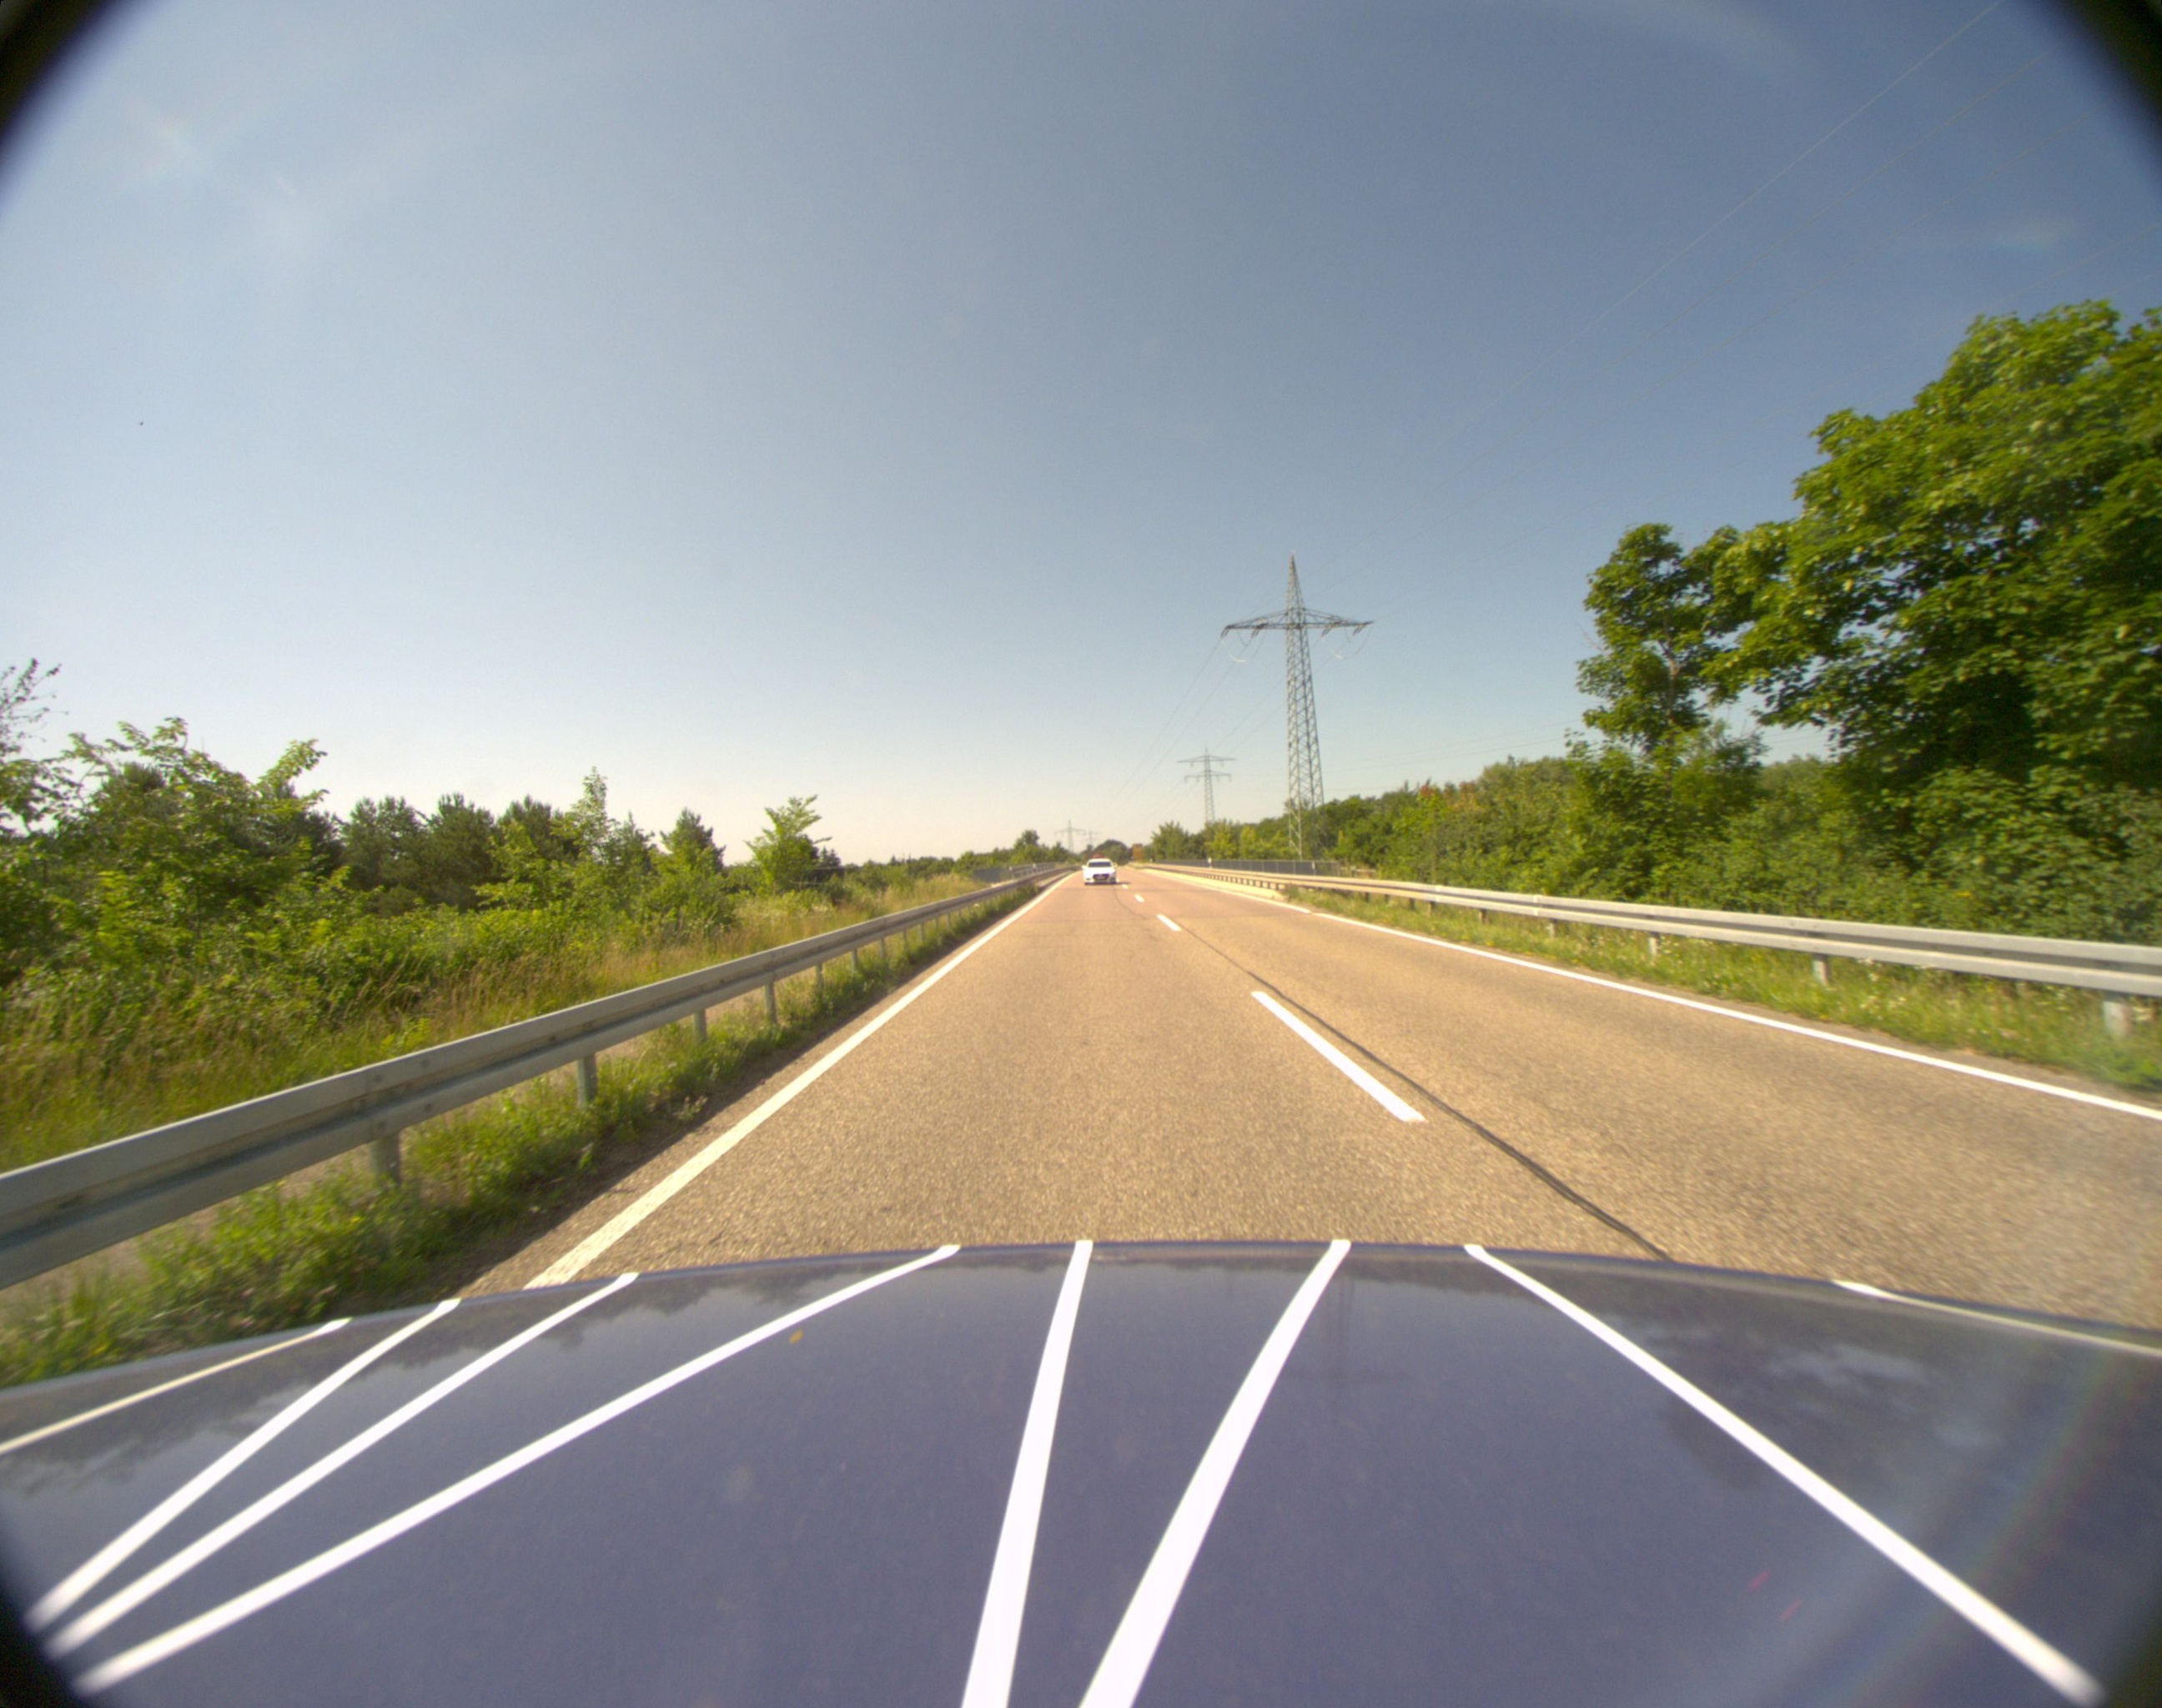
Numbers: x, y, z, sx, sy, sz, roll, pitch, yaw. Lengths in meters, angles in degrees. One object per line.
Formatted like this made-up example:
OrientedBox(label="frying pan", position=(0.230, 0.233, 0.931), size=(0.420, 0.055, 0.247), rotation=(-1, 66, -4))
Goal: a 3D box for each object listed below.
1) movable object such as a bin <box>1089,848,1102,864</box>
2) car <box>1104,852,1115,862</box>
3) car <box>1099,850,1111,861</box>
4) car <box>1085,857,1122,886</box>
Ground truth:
OrientedBox(label="movable object such as a bin", position=(3.665, 0.461, 187.438), size=(2.760, 3.816, 9.447), rotation=(-2, -1, 2))
OrientedBox(label="car", position=(6.367, 0.684, 170.231), size=(2.126, 1.934, 5.019), rotation=(-2, -1, 0))
OrientedBox(label="car", position=(4.712, 0.327, 148.579), size=(2.126, 1.934, 5.019), rotation=(-2, -1, 0))
OrientedBox(label="car", position=(1.252, 0.966, 43.548), size=(1.923, 1.496, 4.794), rotation=(-2, -1, 1))
